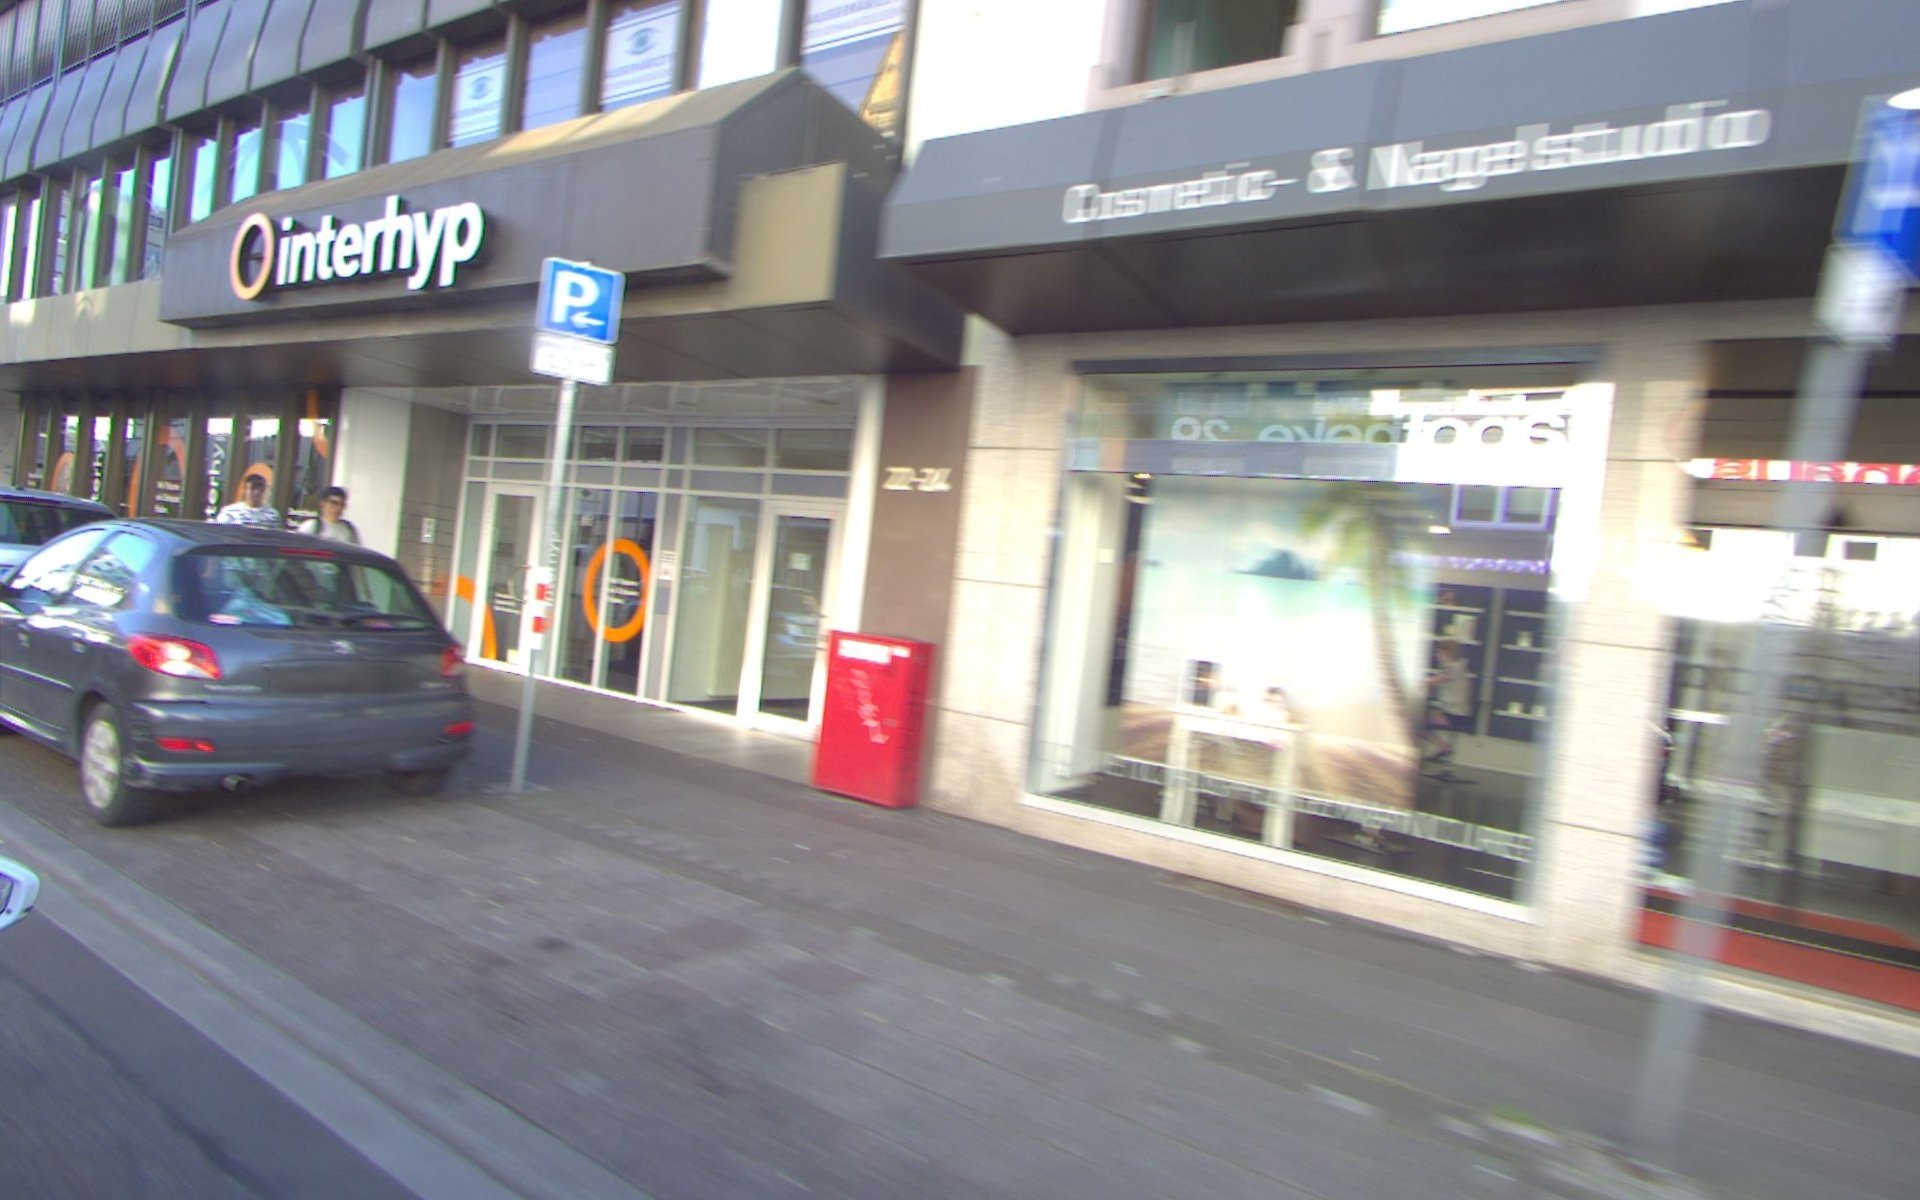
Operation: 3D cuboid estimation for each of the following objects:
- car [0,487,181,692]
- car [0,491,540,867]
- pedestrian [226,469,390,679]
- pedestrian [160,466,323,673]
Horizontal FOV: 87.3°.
[{"bbox_3d":[-8.620,-0.267,8.540,4.225,1.481,1.746,7,1,32],"label":"car"},{"bbox_3d":[-4.701,0.216,6.122,4.233,1.481,1.848,7,1,34],"label":"car"},{"bbox_3d":[-5.949,-0.229,9.186,1.015,1.774,0.780,7,1,33],"label":"pedestrian"},{"bbox_3d":[-7.010,-0.298,9.823,0.983,1.867,0.923,7,3,33],"label":"pedestrian"}]
